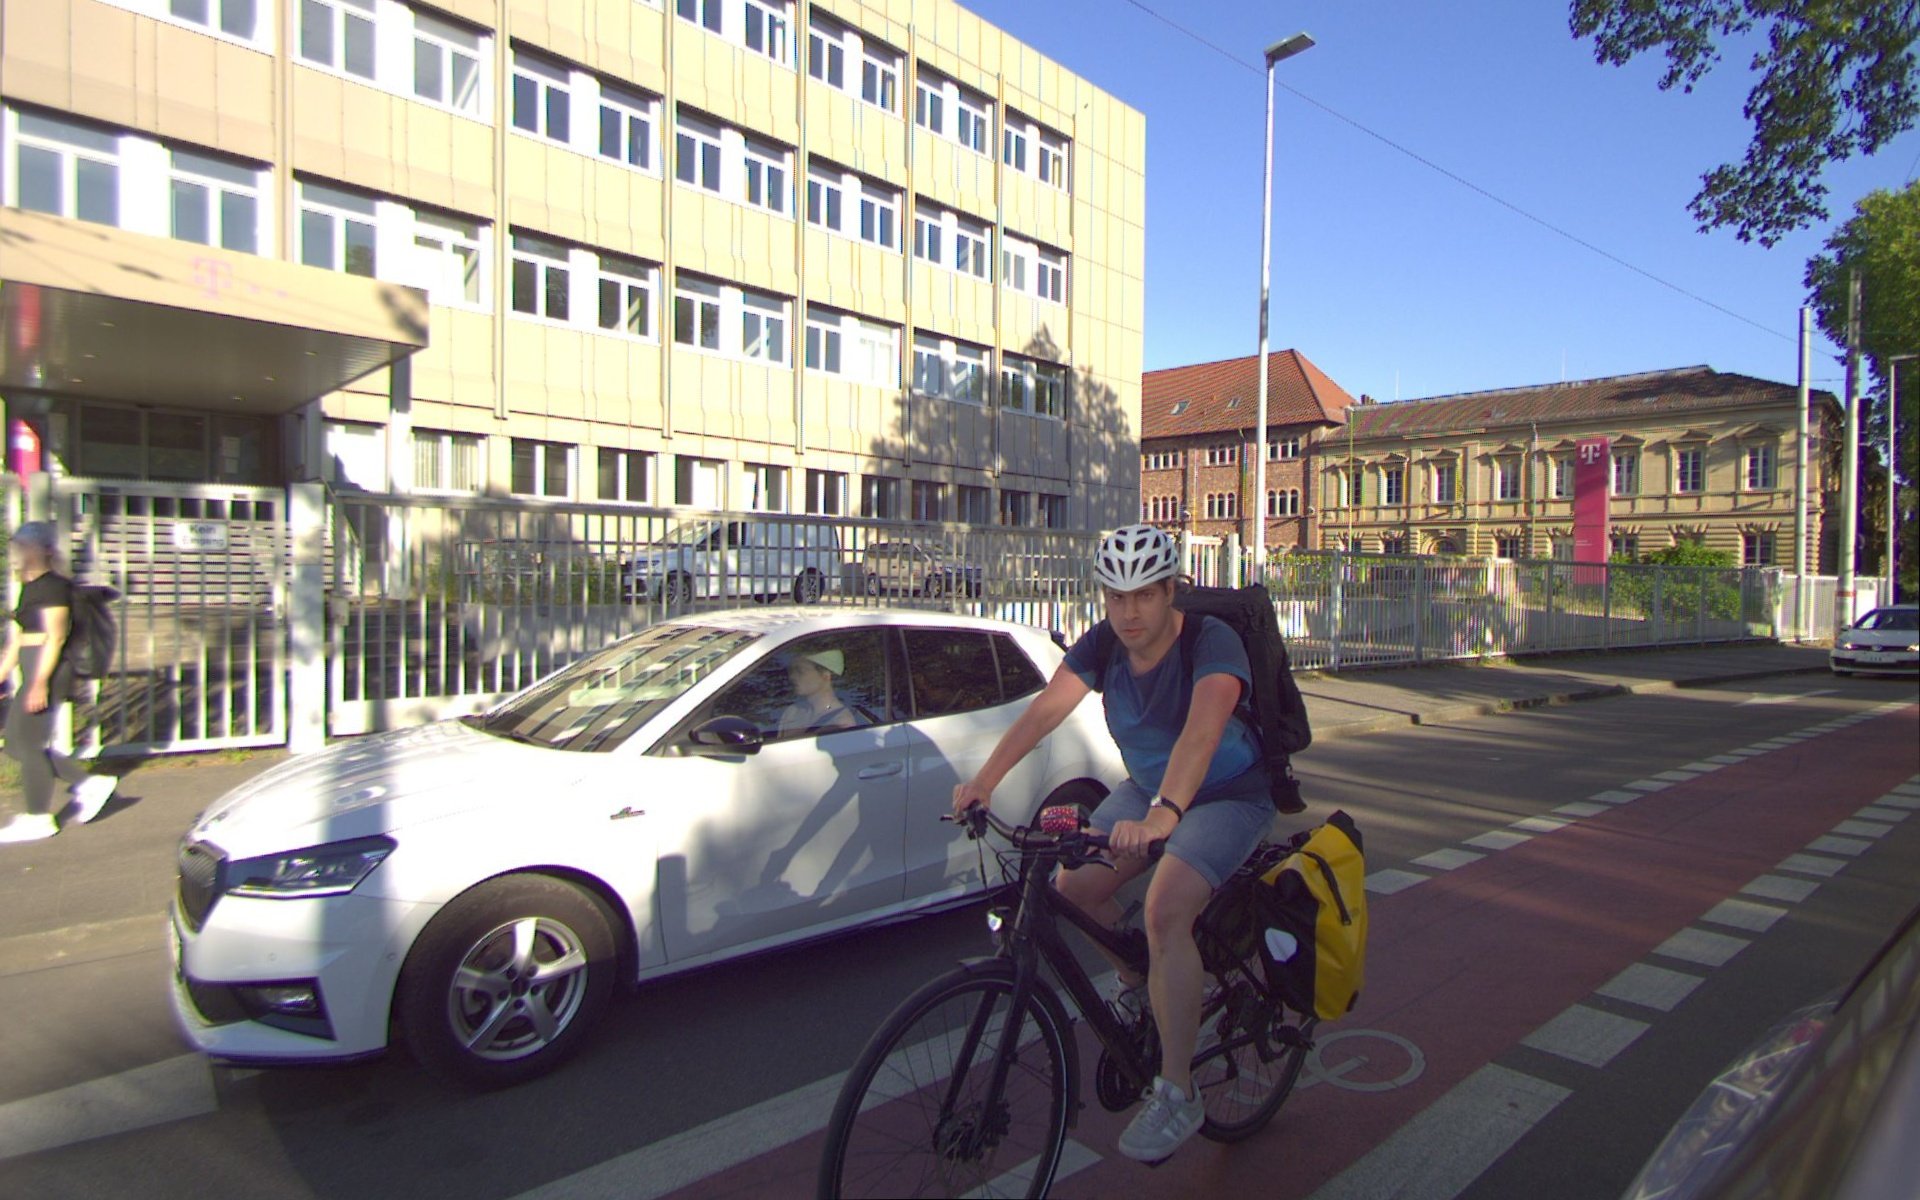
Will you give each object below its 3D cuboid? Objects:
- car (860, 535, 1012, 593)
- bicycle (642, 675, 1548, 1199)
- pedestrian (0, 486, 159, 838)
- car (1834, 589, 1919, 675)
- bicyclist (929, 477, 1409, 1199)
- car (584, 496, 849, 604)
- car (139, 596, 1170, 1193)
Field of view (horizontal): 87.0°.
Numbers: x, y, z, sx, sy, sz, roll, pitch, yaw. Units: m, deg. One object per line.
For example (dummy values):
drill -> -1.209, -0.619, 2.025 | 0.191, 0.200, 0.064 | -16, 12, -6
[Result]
car -> -0.800, -1.084, 30.368 | 1.968, 1.600, 4.565 | -1, 2, -45
bicycle -> 0.499, 0.851, 2.380 | 2.265, 1.158, 0.764 | -1, 2, -39
pedestrian -> -4.845, 0.304, 5.505 | 0.756, 1.784, 0.592 | 0, 1, -40
car -> 18.987, 0.563, 19.836 | 4.219, 1.521, 1.794 | -1, 0, -35
bicyclist -> 0.484, 0.489, 2.368 | 0.844, 1.440, 0.727 | -1, 0, -39
car -> -4.633, -0.916, 19.769 | 4.708, 1.865, 1.995 | -1, 2, -45
car -> -0.988, 0.708, 4.432 | 4.004, 1.406, 1.704 | -1, 1, -41
